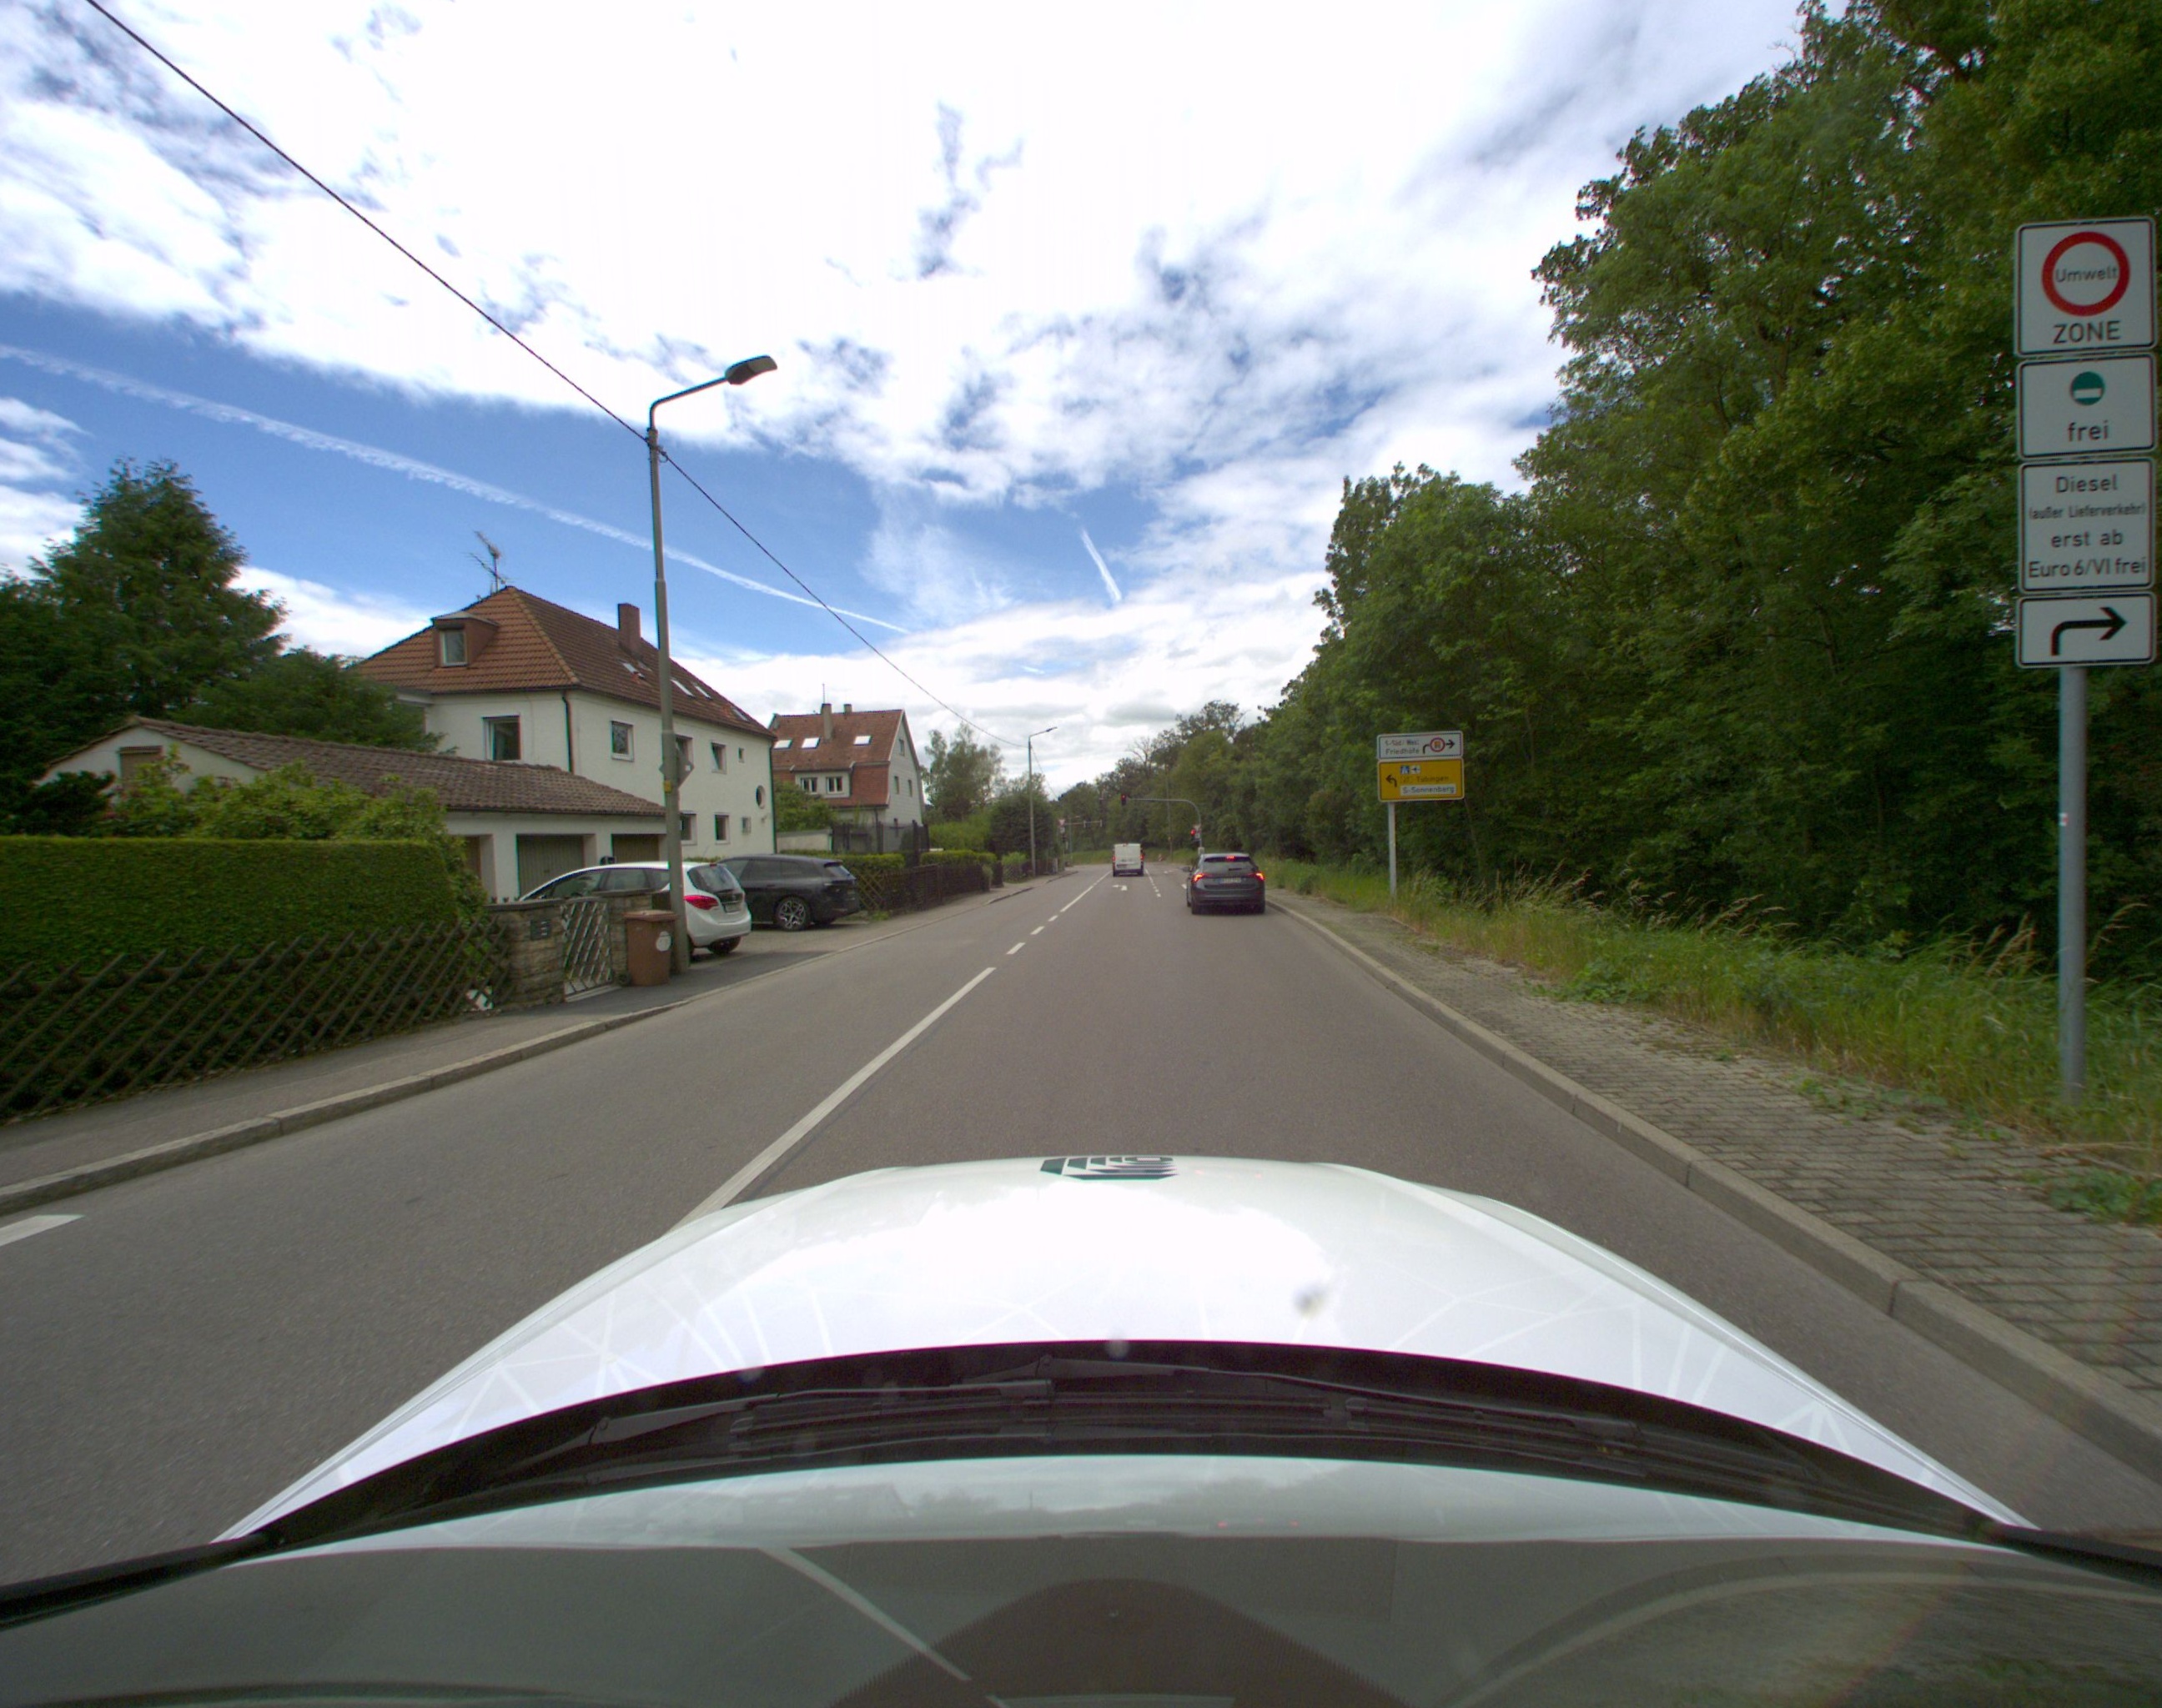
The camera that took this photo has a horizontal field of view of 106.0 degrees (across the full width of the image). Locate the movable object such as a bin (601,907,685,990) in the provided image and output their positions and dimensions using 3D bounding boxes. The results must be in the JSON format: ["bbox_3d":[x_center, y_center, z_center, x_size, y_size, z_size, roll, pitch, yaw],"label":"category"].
[{"bbox_3d":[-5.511,1.182,10.270,0.684,0.954,0.573,-2,0,9],"label":"movable object such as a bin"}]

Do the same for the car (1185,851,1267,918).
[{"bbox_3d":[3.581,0.692,20.488,1.782,1.450,4.010,-2,0,8],"label":"car"}]

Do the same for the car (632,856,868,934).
[{"bbox_3d":[-7.505,0.898,18.755,4.649,1.669,1.885,0,0,4],"label":"car"}]

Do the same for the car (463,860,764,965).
[{"bbox_3d":[-7.548,0.901,13.406,3.970,1.594,1.720,0,0,3],"label":"car"}]

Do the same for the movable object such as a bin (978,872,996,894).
[{"bbox_3d":[-4.098,1.252,35.482,0.628,0.913,0.563,0,1,16],"label":"movable object such as a bin"}]

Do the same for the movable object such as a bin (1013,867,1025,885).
[{"bbox_3d":[-3.427,1.214,44.867,0.547,0.938,0.538,-2,0,5],"label":"movable object such as a bin"}]

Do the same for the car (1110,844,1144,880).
[{"bbox_3d":[2.771,0.462,50.300,1.909,2.053,4.616,-2,0,2],"label":"car"}]
